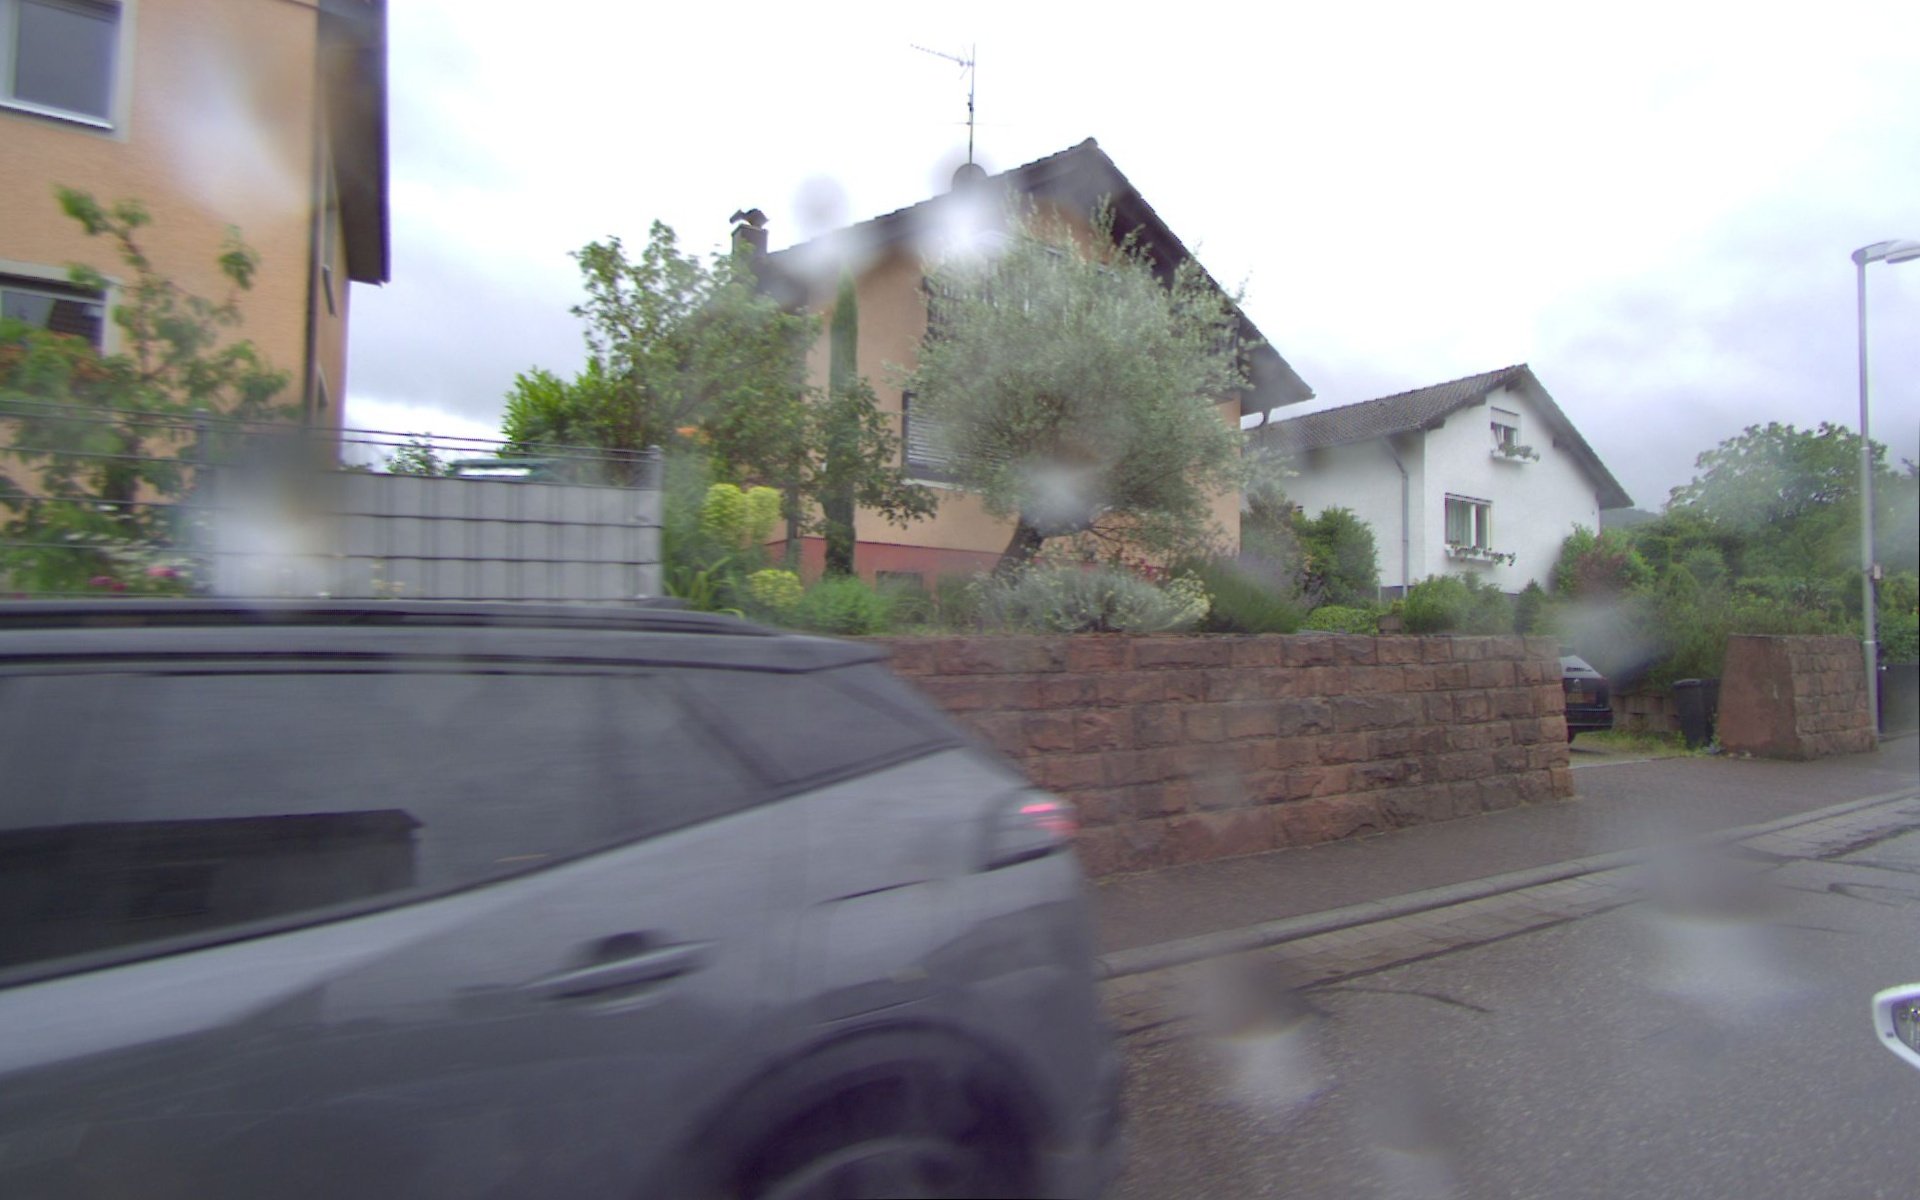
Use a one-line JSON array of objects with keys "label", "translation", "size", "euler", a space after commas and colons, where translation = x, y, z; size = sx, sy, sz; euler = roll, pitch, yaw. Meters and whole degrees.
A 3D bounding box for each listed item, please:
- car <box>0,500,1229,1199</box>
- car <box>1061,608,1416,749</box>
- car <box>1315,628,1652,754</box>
[{"label": "car", "translation": [-1.544, 0.730, 1.700], "size": [3.806, 1.567, 1.692], "euler": [1, -4, -31]}, {"label": "car", "translation": [3.441, 0.890, 12.533], "size": [3.929, 1.470, 1.811], "euler": [0, -3, 31]}, {"label": "car", "translation": [7.221, 1.187, 14.345], "size": [1.970, 1.513, 3.981], "euler": [2, -2, -21]}]
